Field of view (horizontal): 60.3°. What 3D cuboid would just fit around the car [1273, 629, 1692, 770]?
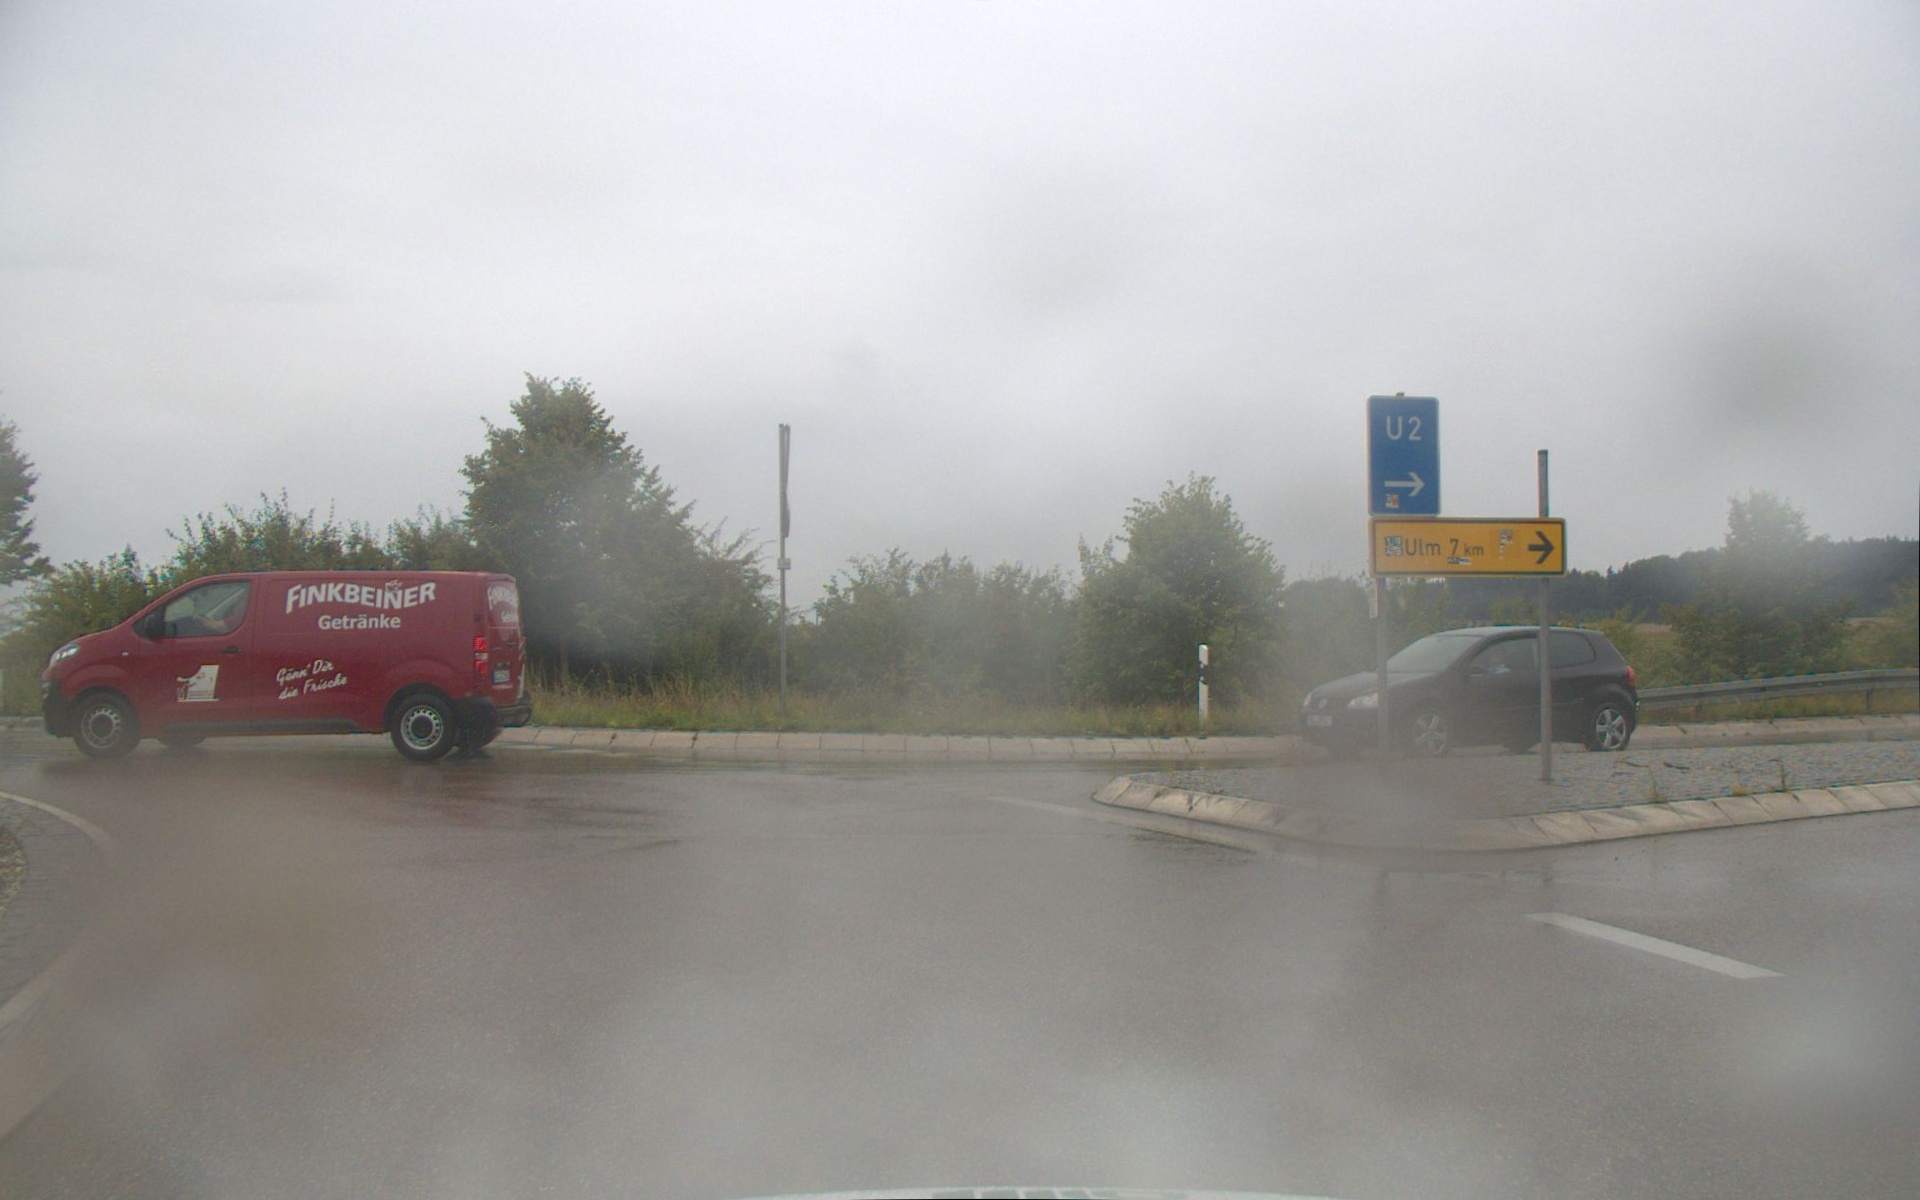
[{"bbox_3d":[5.980,1.100,18.955,4.425,1.446,1.862,1,-1,-22],"label":"car"}]

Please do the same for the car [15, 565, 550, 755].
[{"bbox_3d":[-7.062,0.618,17.674,4.862,1.903,1.999,0,-1,-2],"label":"car"}]
